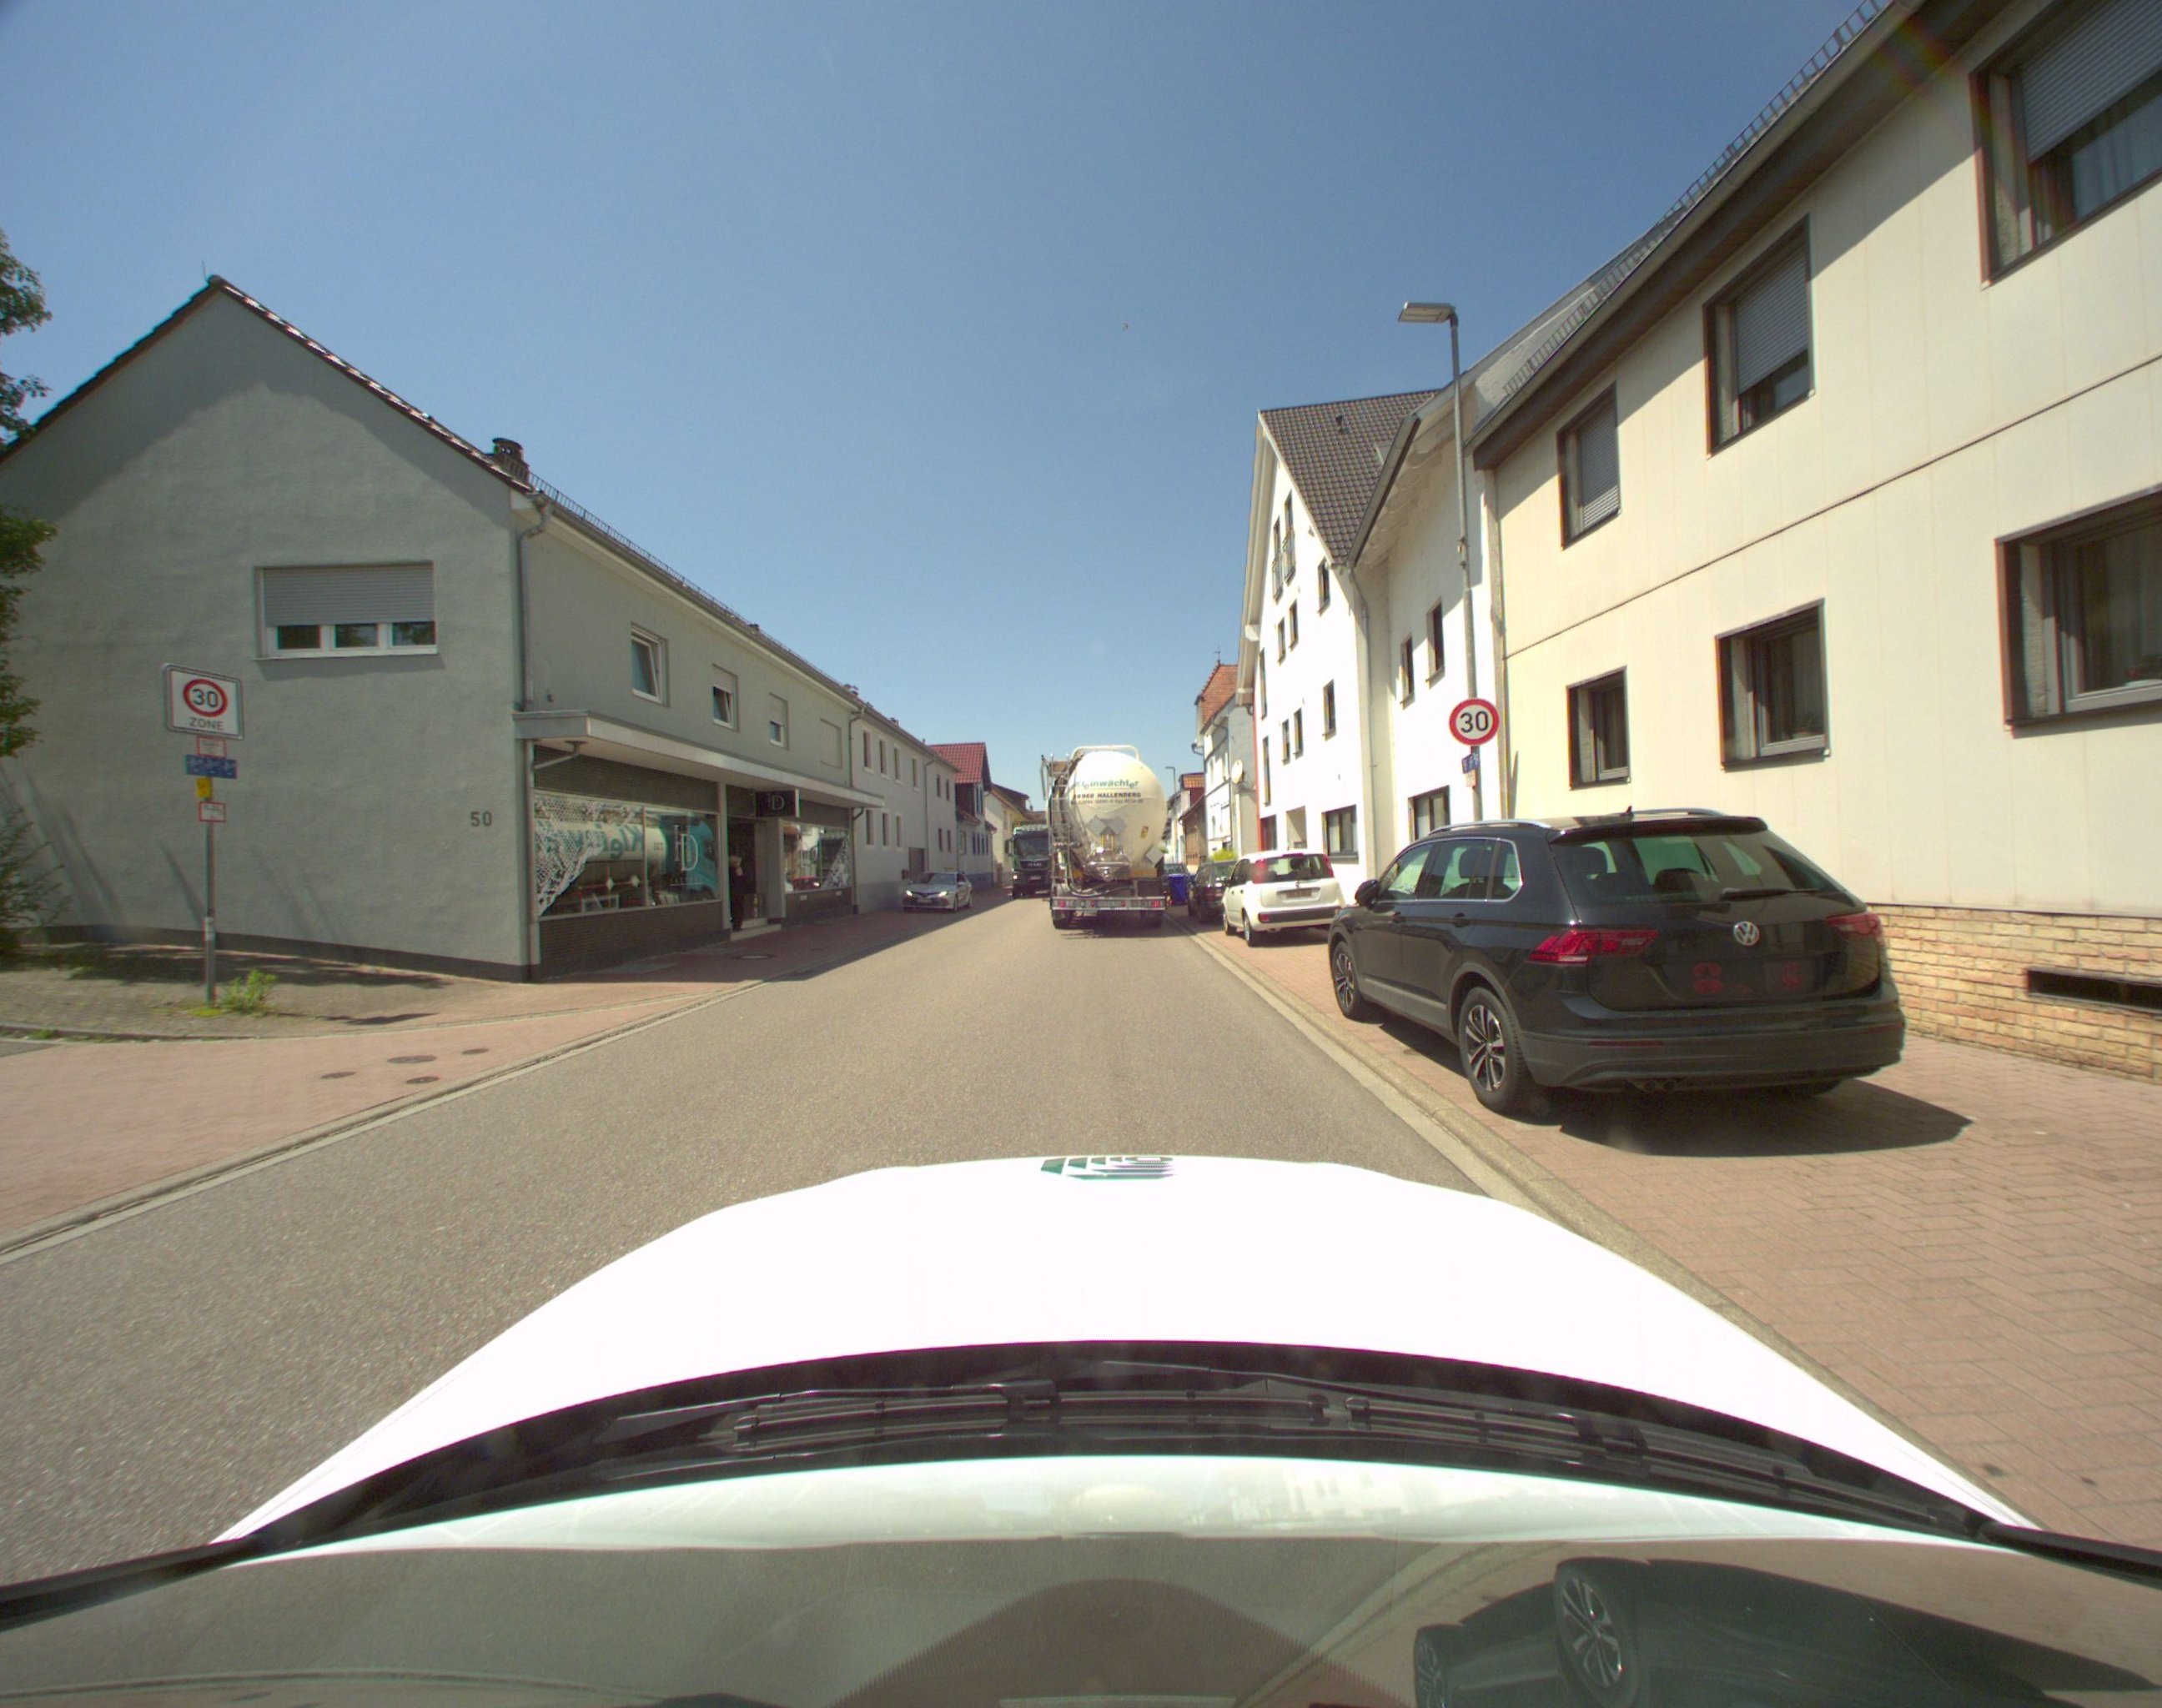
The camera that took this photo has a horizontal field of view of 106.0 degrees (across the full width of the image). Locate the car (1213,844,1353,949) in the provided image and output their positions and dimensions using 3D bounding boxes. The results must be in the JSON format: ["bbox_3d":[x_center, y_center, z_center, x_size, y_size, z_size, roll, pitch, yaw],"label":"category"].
[{"bbox_3d":[3.457,0.690,14.547,1.601,1.522,3.546,-5,-1,2],"label":"car"}]

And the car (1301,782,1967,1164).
[{"bbox_3d":[3.121,0.541,5.973,1.796,1.614,4.549,-4,0,1],"label":"car"}]

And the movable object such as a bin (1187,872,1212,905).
[{"bbox_3d":[4.015,1.173,27.635,0.649,1.060,0.839,-4,-1,17],"label":"movable object such as a bin"}]

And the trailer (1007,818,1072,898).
[{"bbox_3d":[-2.231,0.337,49.749,2.621,3.979,15.700,-4,-1,1],"label":"trailer"}]

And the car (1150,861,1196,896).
[{"bbox_3d":[4.218,1.114,38.047,1.763,1.466,4.580,-3,-1,3],"label":"car"}]

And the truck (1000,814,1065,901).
[{"bbox_3d":[-2.382,0.223,42.427,2.609,3.985,6.853,-4,-1,1],"label":"truck"}]

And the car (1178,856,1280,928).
[{"bbox_3d":[3.526,0.855,20.188,1.694,1.447,4.838,-5,-1,2],"label":"car"}]

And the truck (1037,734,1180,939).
[{"bbox_3d":[0.683,-0.283,20.040,2.722,3.960,8.144,-1,-1,2],"label":"truck"}]

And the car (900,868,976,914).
[{"bbox_3d":[-5.141,1.286,29.868,1.801,1.557,4.566,0,-1,2],"label":"car"}]

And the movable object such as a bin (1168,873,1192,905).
[{"bbox_3d":[3.386,1.193,27.833,0.650,1.035,0.687,-4,-1,17],"label":"movable object such as a bin"}]

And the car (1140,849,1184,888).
[{"bbox_3d":[4.483,0.801,45.876,1.940,1.970,4.784,-3,-1,0],"label":"car"}]

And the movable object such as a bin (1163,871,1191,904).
[{"bbox_3d":[3.368,1.181,28.541,0.716,1.073,0.976,-4,-1,17],"label":"movable object such as a bin"}]

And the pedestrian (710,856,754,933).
[{"bbox_3d":[-7.828,0.887,18.266,0.622,1.685,0.771,-1,-1,1],"label":"pedestrian"}]
